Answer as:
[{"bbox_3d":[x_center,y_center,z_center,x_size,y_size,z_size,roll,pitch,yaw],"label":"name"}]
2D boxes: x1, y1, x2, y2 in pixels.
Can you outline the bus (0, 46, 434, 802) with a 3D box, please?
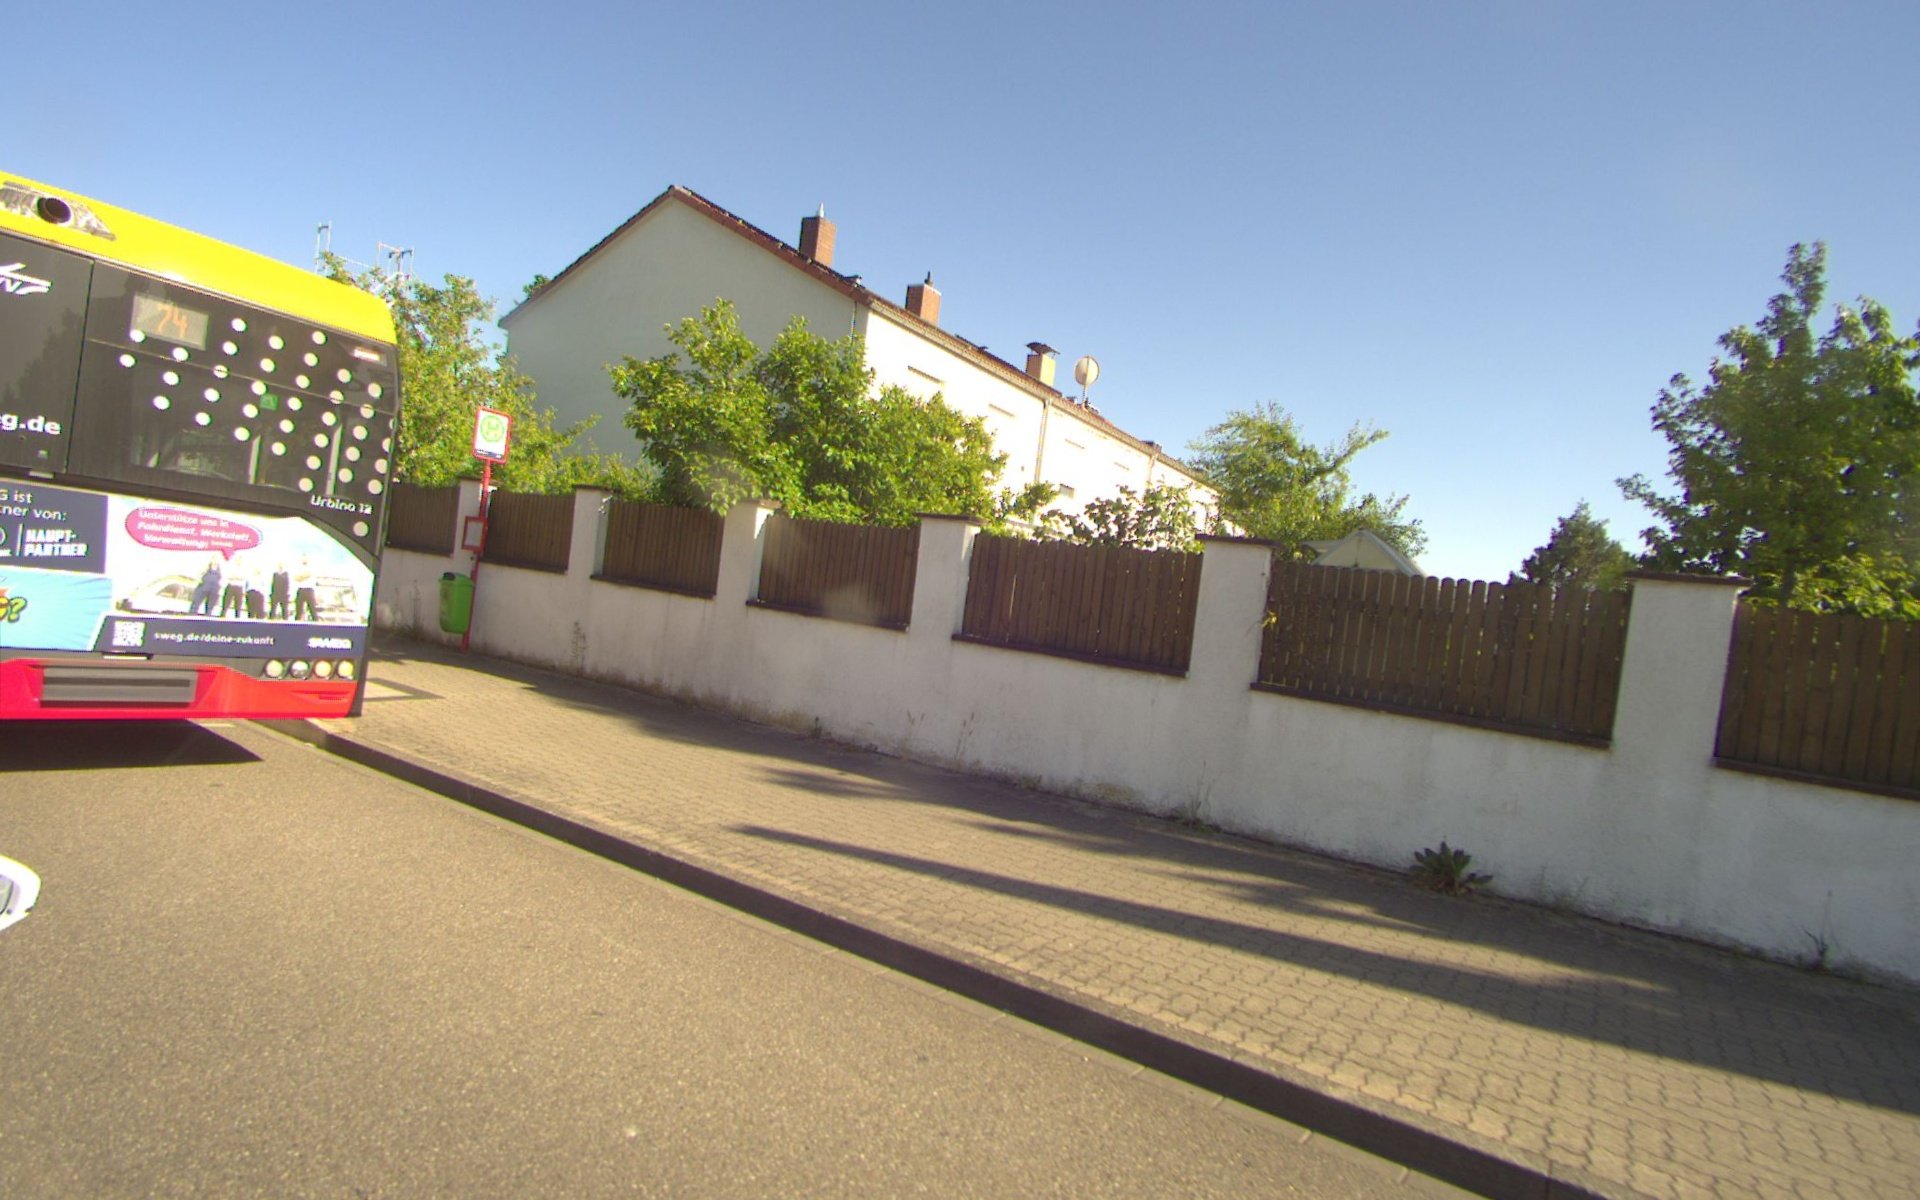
[{"bbox_3d":[-9.032,-1.234,8.806,12.211,3.502,2.755,6,0,37],"label":"bus"}]
